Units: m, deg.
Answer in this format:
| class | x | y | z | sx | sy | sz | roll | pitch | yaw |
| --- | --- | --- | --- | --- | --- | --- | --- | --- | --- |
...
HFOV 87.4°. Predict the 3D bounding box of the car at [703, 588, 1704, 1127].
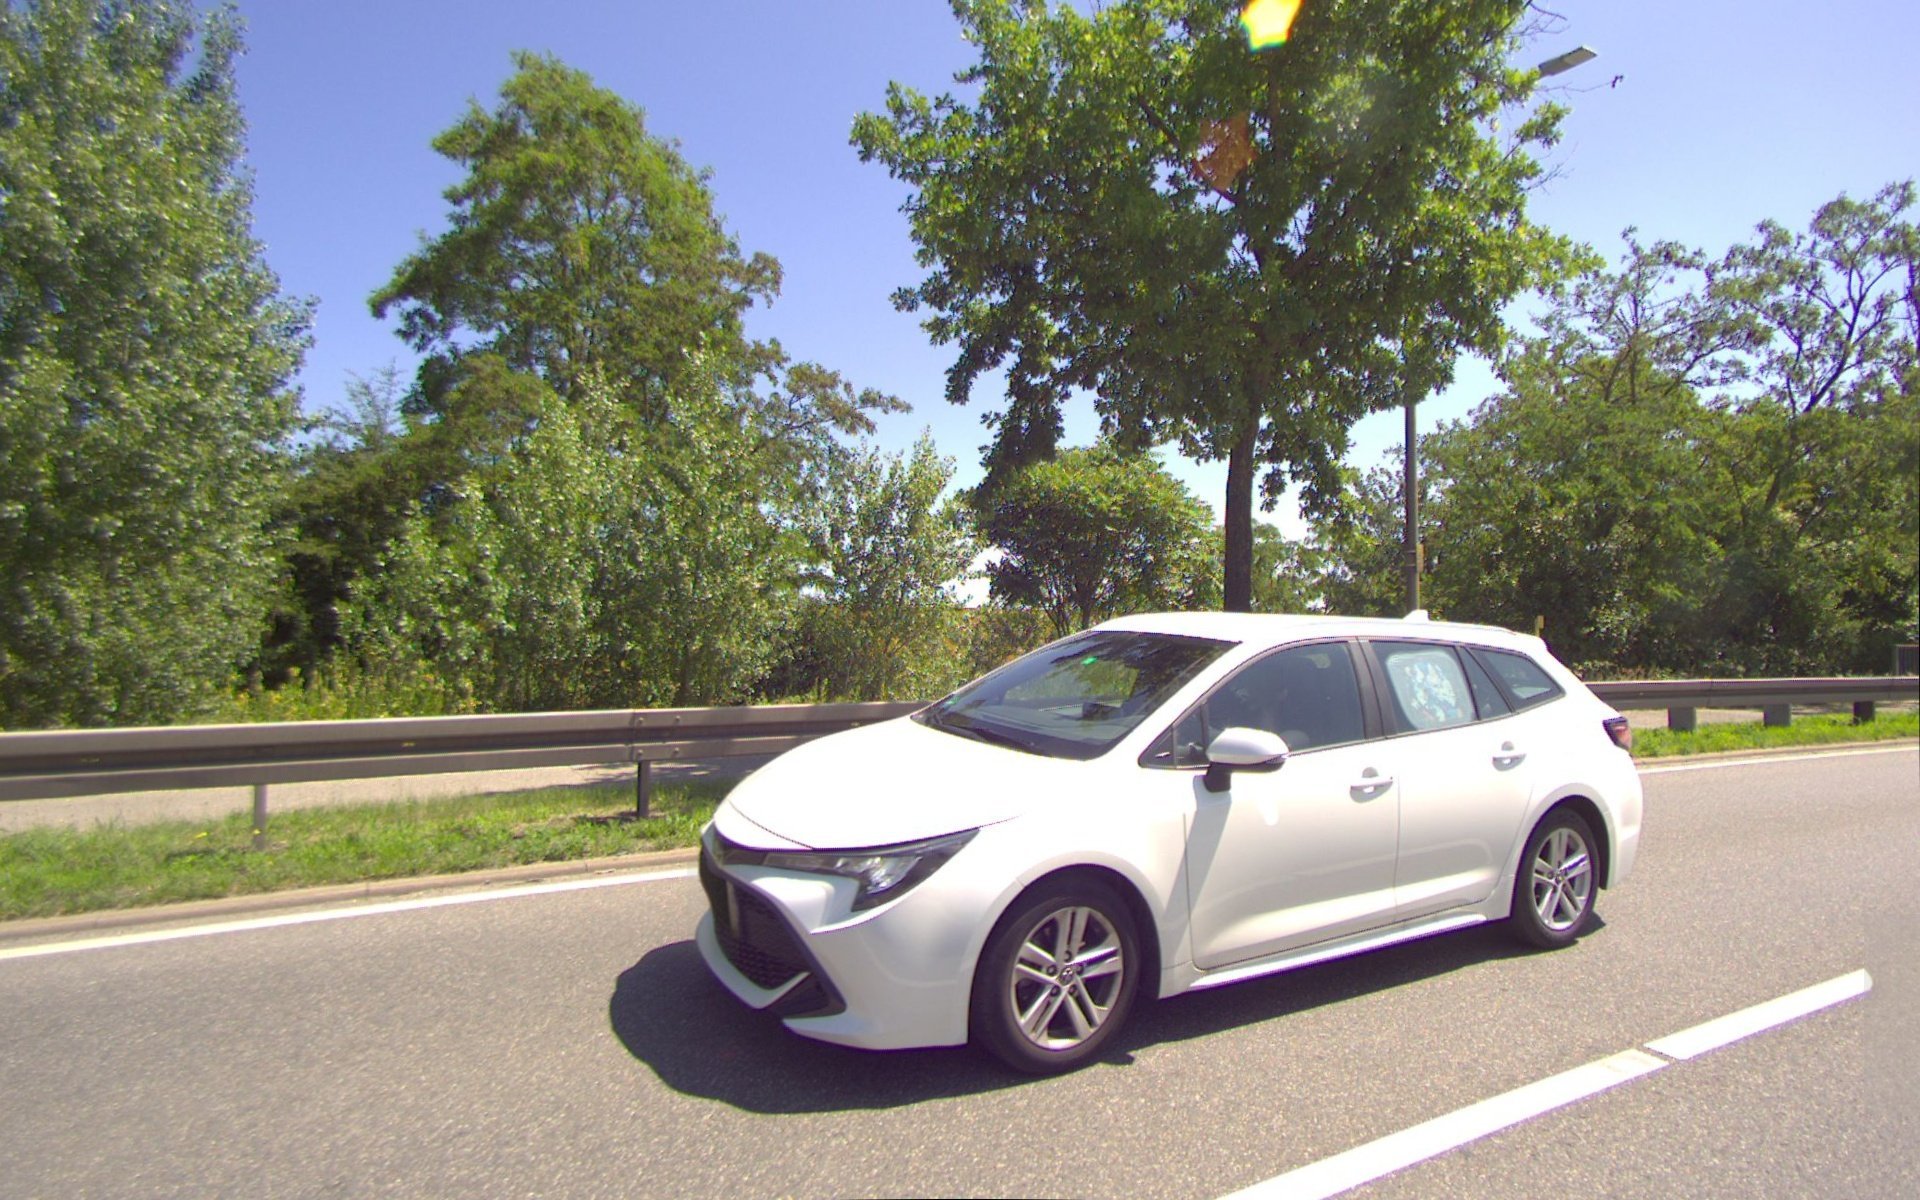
| class | x | y | z | sx | sy | sz | roll | pitch | yaw |
| --- | --- | --- | --- | --- | --- | --- | --- | --- | --- |
| car | 1.251 | 0.738 | 4.546 | 4.404 | 1.466 | 1.694 | 1 | 0 | -29 |
